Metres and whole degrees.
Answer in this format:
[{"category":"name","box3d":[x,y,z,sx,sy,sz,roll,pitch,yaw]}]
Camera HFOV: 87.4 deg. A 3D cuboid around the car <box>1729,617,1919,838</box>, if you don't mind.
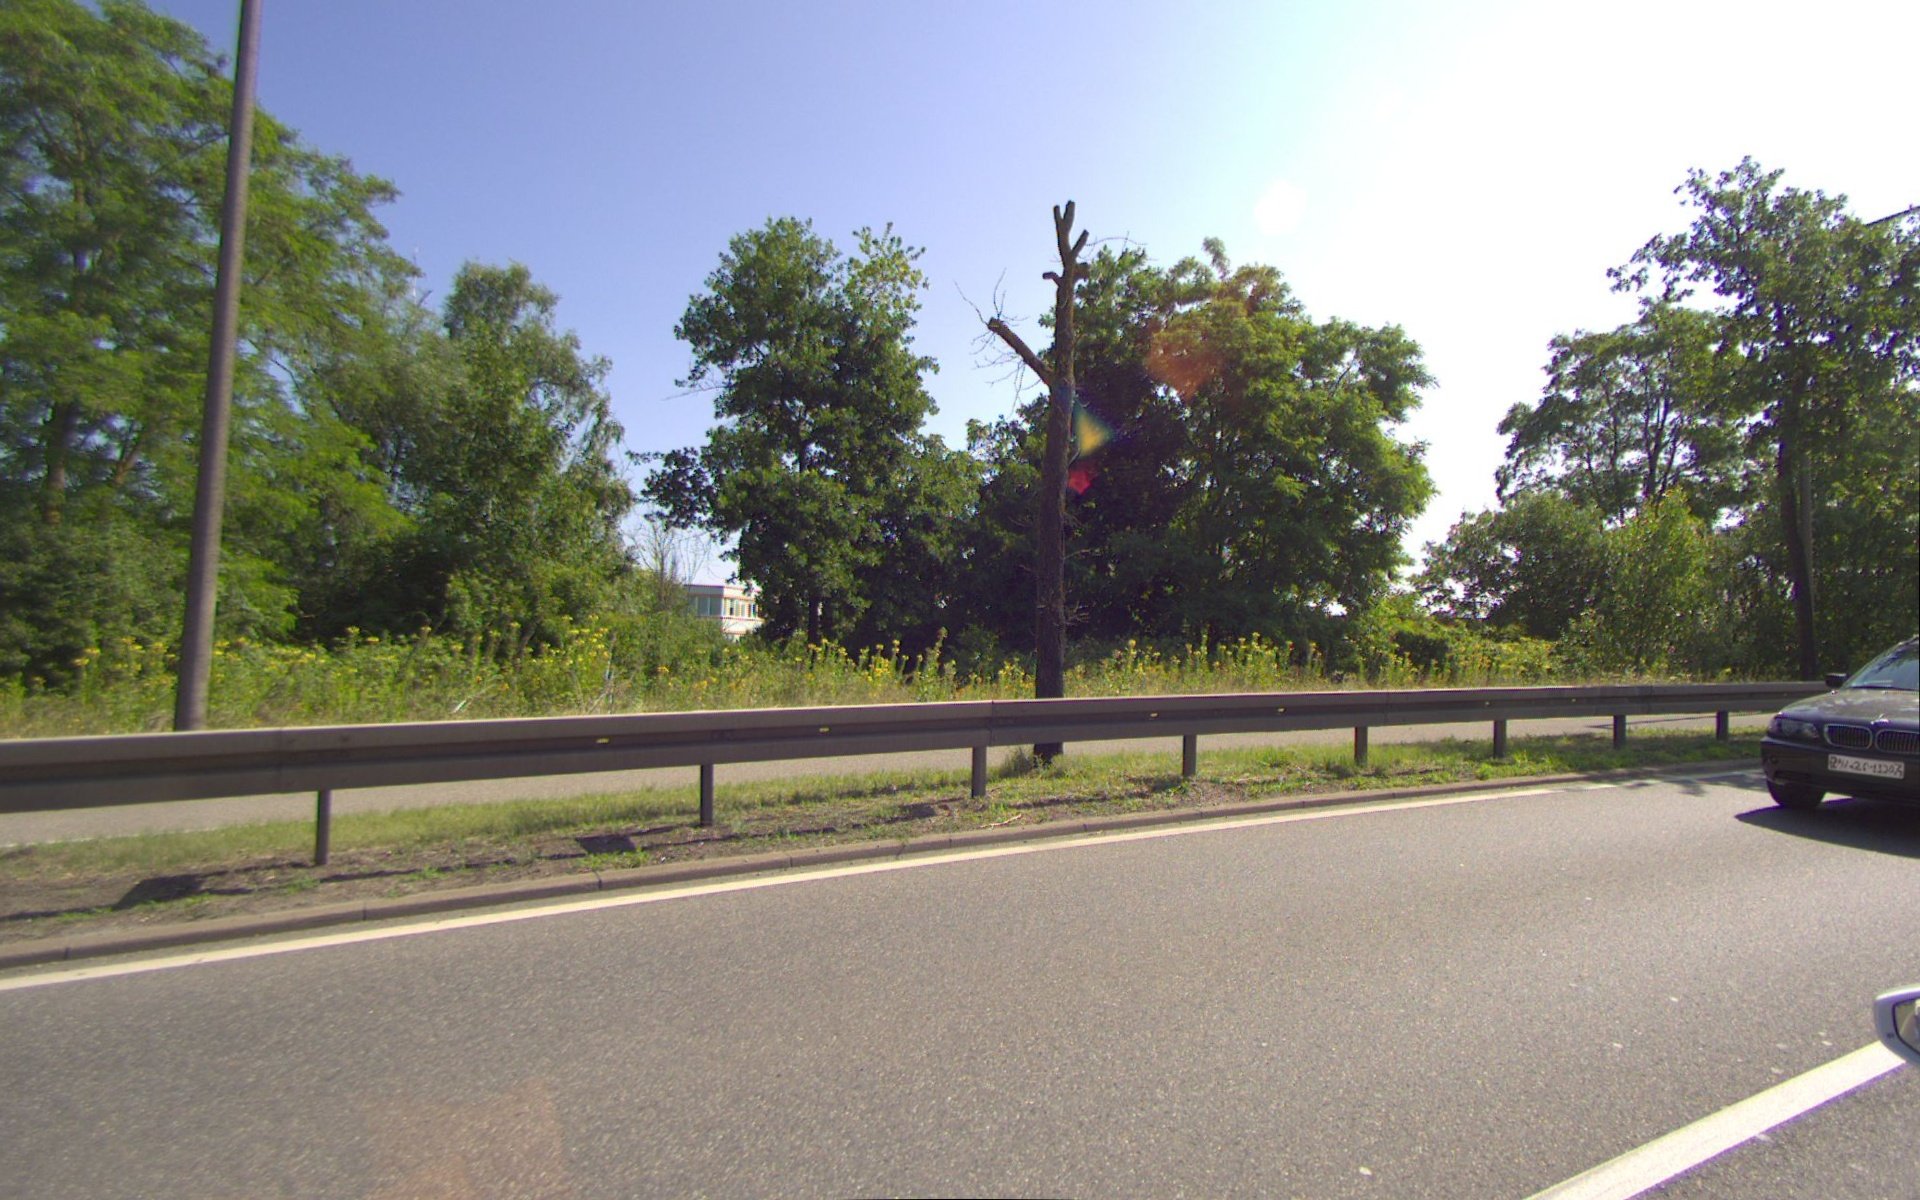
[{"category":"car","box3d":[8.229,0.941,8.018,4.067,1.468,1.695,2,0,-27]}]
